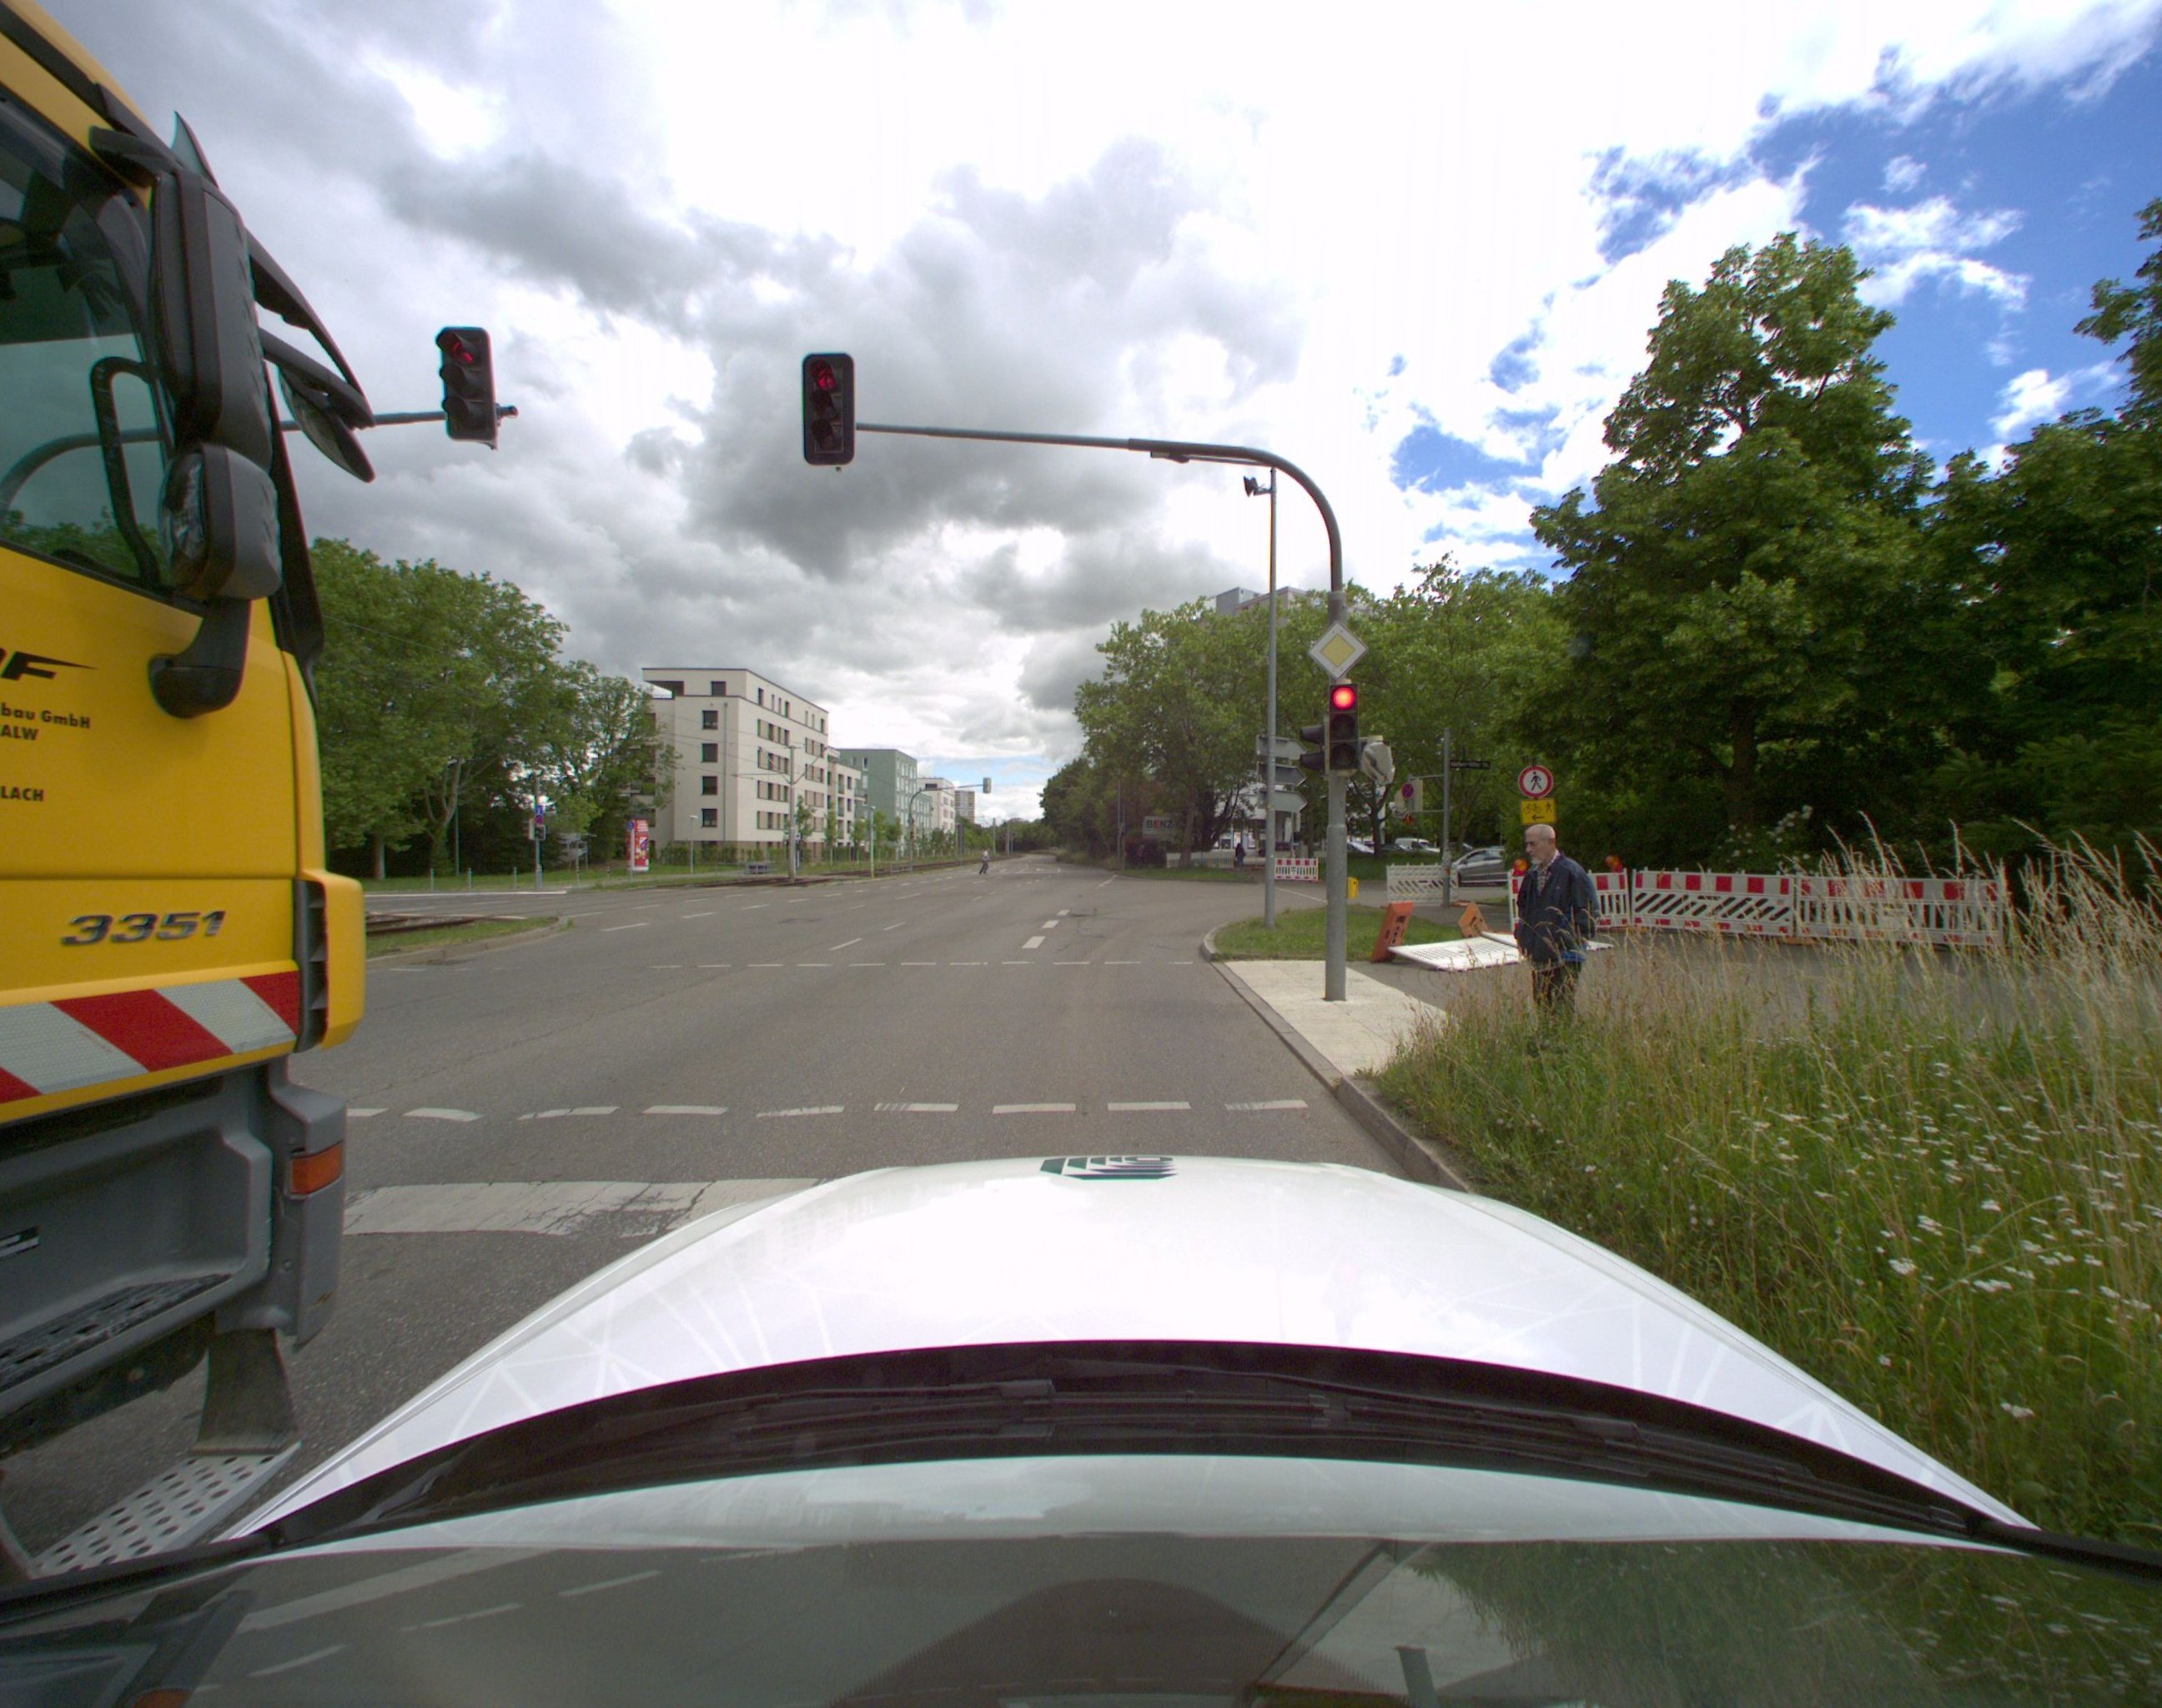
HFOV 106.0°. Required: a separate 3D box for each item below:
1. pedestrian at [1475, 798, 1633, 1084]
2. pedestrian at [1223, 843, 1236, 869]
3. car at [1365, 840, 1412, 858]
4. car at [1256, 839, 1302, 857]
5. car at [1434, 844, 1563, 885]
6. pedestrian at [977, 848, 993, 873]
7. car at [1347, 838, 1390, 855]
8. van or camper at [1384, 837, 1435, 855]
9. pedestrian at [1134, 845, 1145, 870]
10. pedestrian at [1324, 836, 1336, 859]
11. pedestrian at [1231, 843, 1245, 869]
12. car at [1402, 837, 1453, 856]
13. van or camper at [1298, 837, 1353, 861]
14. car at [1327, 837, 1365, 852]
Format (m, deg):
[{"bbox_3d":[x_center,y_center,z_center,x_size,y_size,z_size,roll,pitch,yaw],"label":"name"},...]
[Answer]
[{"bbox_3d":[3.230,0.523,5.544,0.719,1.740,0.962,-1,0,44],"label":"pedestrian"},{"bbox_3d":[8.780,0.116,48.267,0.682,1.489,0.700,0,-1,5],"label":"pedestrian"},{"bbox_3d":[24.319,-0.377,64.524,1.488,1.404,3.378,0,-1,-27],"label":"car"},{"bbox_3d":[17.519,-0.495,72.275,1.736,1.500,4.234,0,-1,-24],"label":"car"},{"bbox_3d":[17.014,0.436,33.367,4.379,1.586,1.774,0,-1,2],"label":"car"},{"bbox_3d":[-6.082,0.434,51.651,0.845,1.586,0.796,0,-1,0],"label":"pedestrian"},{"bbox_3d":[28.022,-0.768,79.401,1.677,1.634,3.787,0,1,-28],"label":"car"},{"bbox_3d":[26.976,-0.646,67.056,1.523,1.356,3.738,0,-1,-31],"label":"van or camper"},{"bbox_3d":[3.729,0.221,51.934,0.650,1.539,0.773,0,-1,4],"label":"pedestrian"},{"bbox_3d":[22.216,-0.588,72.746,0.802,2.002,0.852,0,-1,-3],"label":"pedestrian"},{"bbox_3d":[9.089,0.113,47.183,0.714,1.489,0.700,0,-1,6],"label":"pedestrian"},{"bbox_3d":[29.019,-0.600,68.344,1.489,1.465,3.856,0,-1,-29],"label":"car"},{"bbox_3d":[18.478,-0.384,61.726,1.849,1.684,3.967,-1,0,-25],"label":"van or camper"},{"bbox_3d":[25.311,-0.895,77.806,1.489,1.404,3.377,0,-1,-29],"label":"car"}]
